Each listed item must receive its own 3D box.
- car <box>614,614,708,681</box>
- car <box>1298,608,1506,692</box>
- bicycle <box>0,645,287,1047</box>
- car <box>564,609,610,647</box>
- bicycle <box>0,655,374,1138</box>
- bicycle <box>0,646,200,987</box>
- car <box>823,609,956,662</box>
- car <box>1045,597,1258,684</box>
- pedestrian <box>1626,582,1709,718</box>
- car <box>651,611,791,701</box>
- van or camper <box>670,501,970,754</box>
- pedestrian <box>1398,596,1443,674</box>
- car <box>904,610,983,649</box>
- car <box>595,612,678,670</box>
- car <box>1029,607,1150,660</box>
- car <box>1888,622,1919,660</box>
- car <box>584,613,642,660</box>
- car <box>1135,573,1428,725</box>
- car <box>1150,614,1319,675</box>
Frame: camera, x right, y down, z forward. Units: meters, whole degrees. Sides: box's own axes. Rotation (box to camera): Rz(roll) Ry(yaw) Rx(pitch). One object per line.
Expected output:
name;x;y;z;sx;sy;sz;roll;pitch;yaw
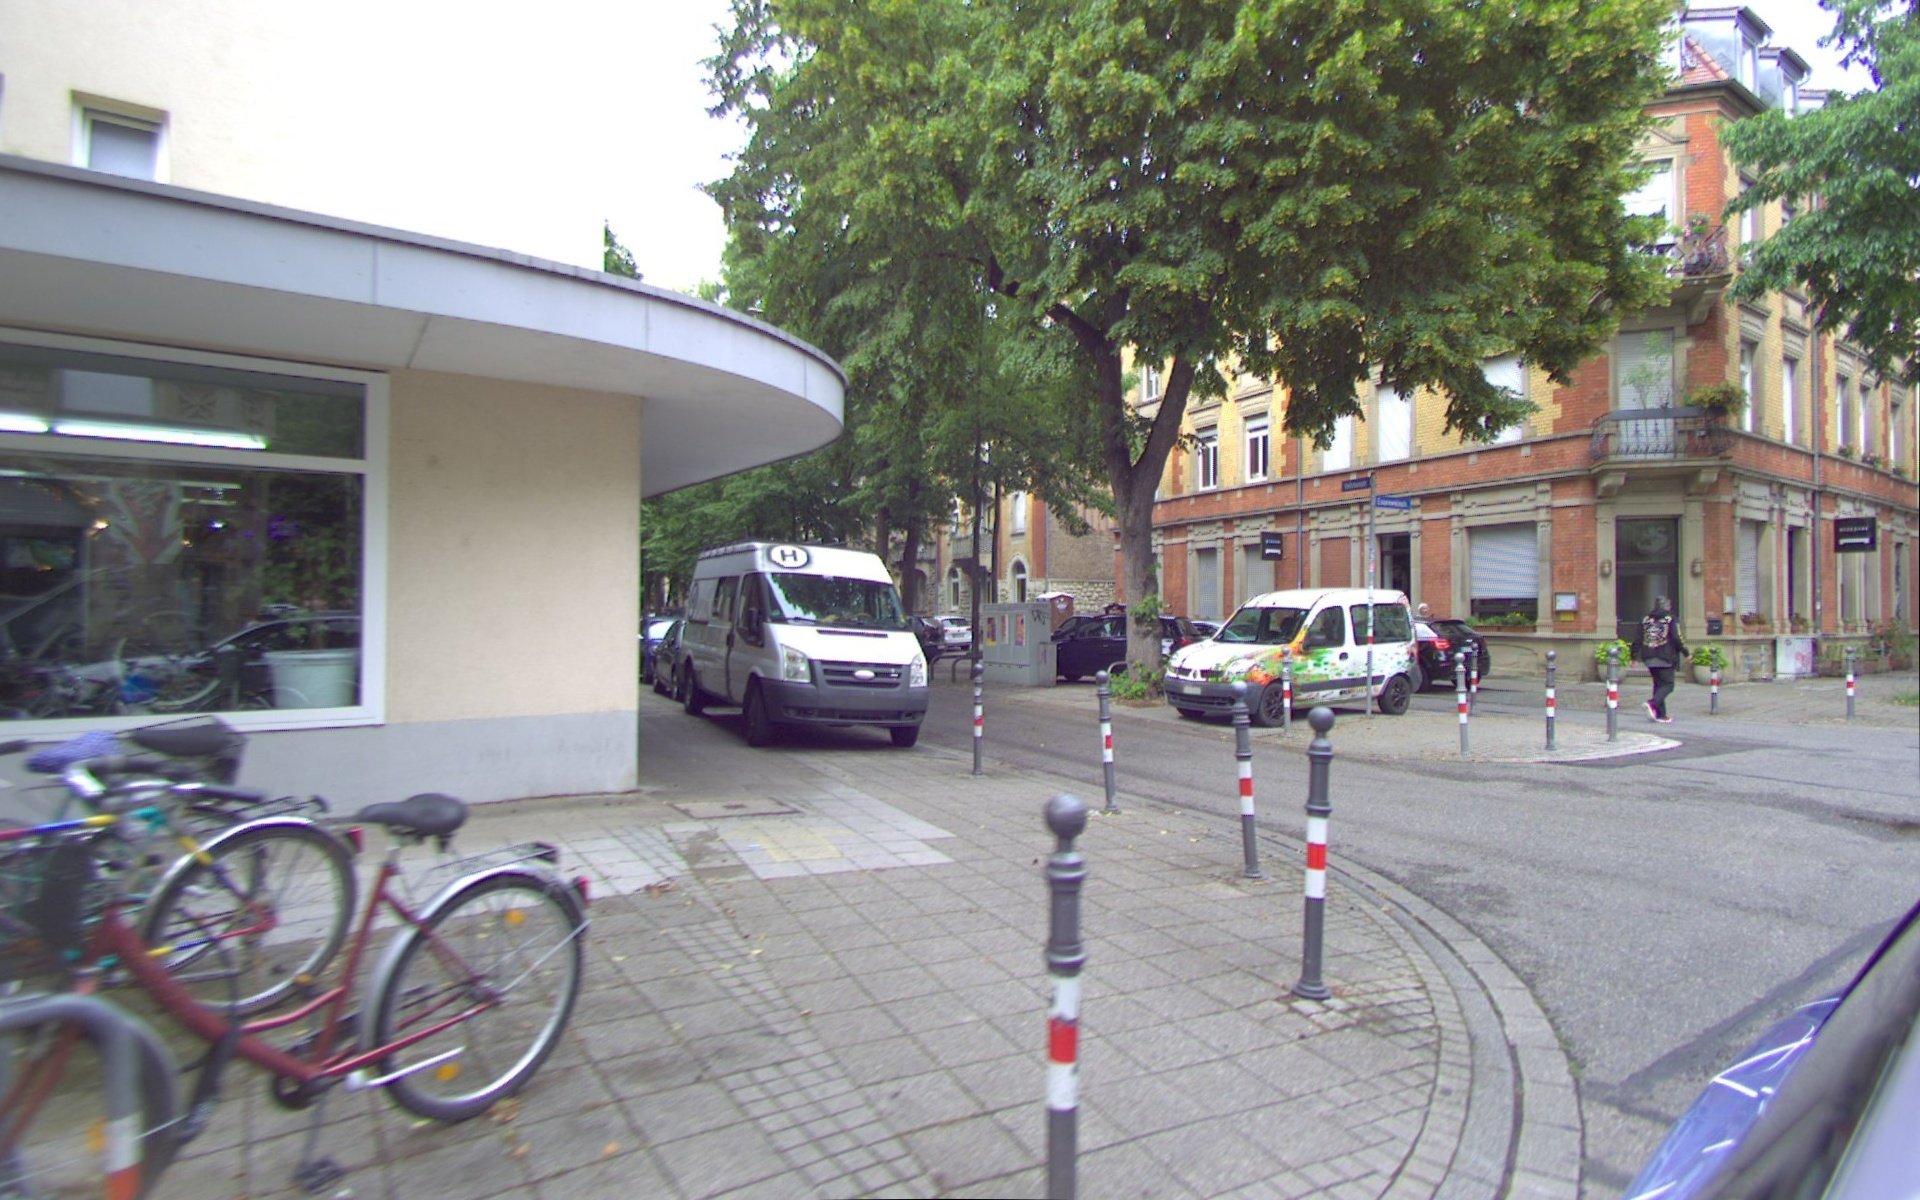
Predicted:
car;-7.209;1.060;24.200;1.598;1.447;3.713;1;-1;-25
car;9.211;0.975;21.404;1.627;1.560;3.839;-1;0;-27
bicycle;-3.223;0.788;3.240;0.546;1.188;1.708;0;0;33
car;-15.440;1.115;41.832;1.710;1.510;3.783;0;-1;-21
bicycle;-2.689;0.812;2.882;0.546;1.188;1.708;0;0;33
bicycle;-3.835;0.813;3.644;0.546;1.188;1.677;0;0;33
car;-2.071;1.077;29.846;3.544;1.438;1.731;-2;-4;20
car;3.827;0.777;20.339;3.915;1.601;1.668;0;-2;28
pedestrian;9.811;0.679;14.043;0.499;1.820;0.782;1;-2;-32
car;-4.501;0.927;18.610;1.867;1.447;4.189;1;-1;-22
van or camper;-2.132;0.356;13.176;2.092;2.527;5.799;4;-2;-25
pedestrian;10.390;0.772;22.845;0.551;1.728;0.750;0;-1;-23
car;-0.754;1.199;42.701;1.807;1.515;4.281;-2;0;-23
car;-8.986;1.070;27.939;1.739;1.436;4.006;0;-1;-24
car;4.160;1.054;33.213;1.959;1.553;4.339;-2;0;-23
car;38.575;1.607;38.906;1.579;1.472;4.000;1;-1;-35
car;-11.175;1.148;32.463;1.478;1.386;3.526;-1;-1;-23
car;4.500;0.609;14.043;3.921;1.842;1.777;0;-1;-32
car;7.034;1.100;26.440;1.959;1.372;4.339;-2;0;-23
